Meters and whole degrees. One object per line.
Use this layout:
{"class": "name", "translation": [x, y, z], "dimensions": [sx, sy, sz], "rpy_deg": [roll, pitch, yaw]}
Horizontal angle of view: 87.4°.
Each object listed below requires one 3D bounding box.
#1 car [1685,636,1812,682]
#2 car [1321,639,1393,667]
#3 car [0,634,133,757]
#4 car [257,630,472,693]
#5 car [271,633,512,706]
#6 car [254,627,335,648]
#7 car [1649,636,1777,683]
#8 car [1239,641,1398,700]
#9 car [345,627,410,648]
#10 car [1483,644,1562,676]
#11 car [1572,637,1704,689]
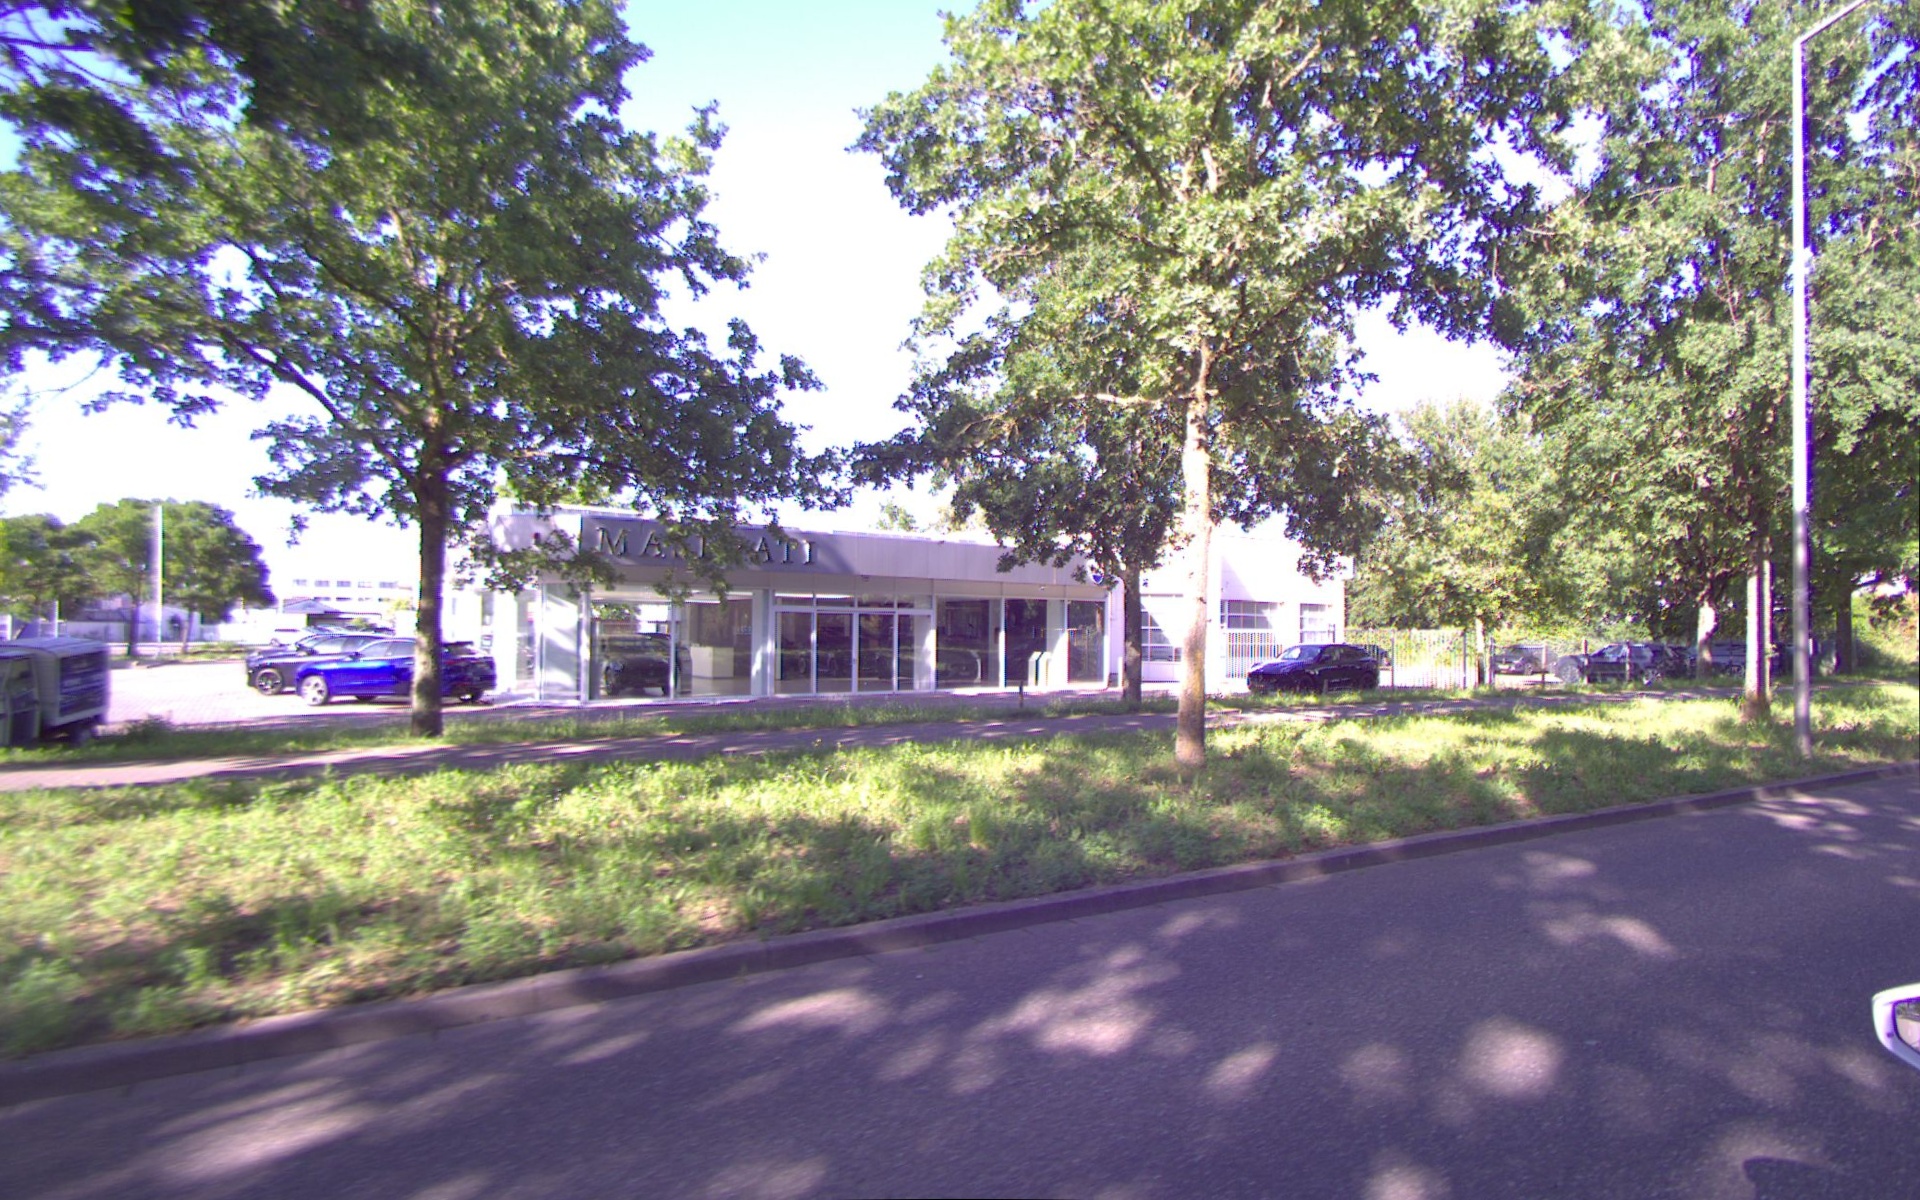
{"class": "car", "translation": [36.150, 2.662, 46.148], "dimensions": [1.980, 1.825, 4.163], "rpy_deg": [2, 0, -35]}
{"class": "car", "translation": [25.055, 3.306, 63.383], "dimensions": [4.839, 1.587, 1.979], "rpy_deg": [2, 0, -37]}
{"class": "car", "translation": [-12.825, 1.228, 13.636], "dimensions": [1.401, 1.489, 2.570], "rpy_deg": [1, -1, -12]}
{"class": "car", "translation": [-16.939, 1.724, 28.763], "dimensions": [4.912, 1.683, 2.000], "rpy_deg": [0, 0, -2]}
{"class": "car", "translation": [-14.225, 1.703, 25.262], "dimensions": [5.153, 1.683, 2.001], "rpy_deg": [0, 0, 9]}
{"class": "car", "translation": [-55.299, 3.124, 83.552], "dimensions": [5.359, 1.683, 1.987], "rpy_deg": [1, -1, -26]}
{"class": "car", "translation": [33.597, 2.605, 44.932], "dimensions": [1.980, 1.825, 4.163], "rpy_deg": [2, 0, -35]}
{"class": "car", "translation": [11.200, 2.141, 31.308], "dimensions": [4.958, 1.619, 1.983], "rpy_deg": [2, 0, -31]}
{"class": "car", "translation": [-47.691, 3.051, 82.346], "dimensions": [4.460, 1.683, 1.987], "rpy_deg": [1, -1, -26]}
{"class": "car", "translation": [31.050, 3.247, 55.379], "dimensions": [4.839, 1.587, 1.979], "rpy_deg": [2, 0, -37]}
{"class": "car", "translation": [27.278, 2.493, 40.508], "dimensions": [1.981, 1.825, 3.958], "rpy_deg": [2, 0, -37]}
